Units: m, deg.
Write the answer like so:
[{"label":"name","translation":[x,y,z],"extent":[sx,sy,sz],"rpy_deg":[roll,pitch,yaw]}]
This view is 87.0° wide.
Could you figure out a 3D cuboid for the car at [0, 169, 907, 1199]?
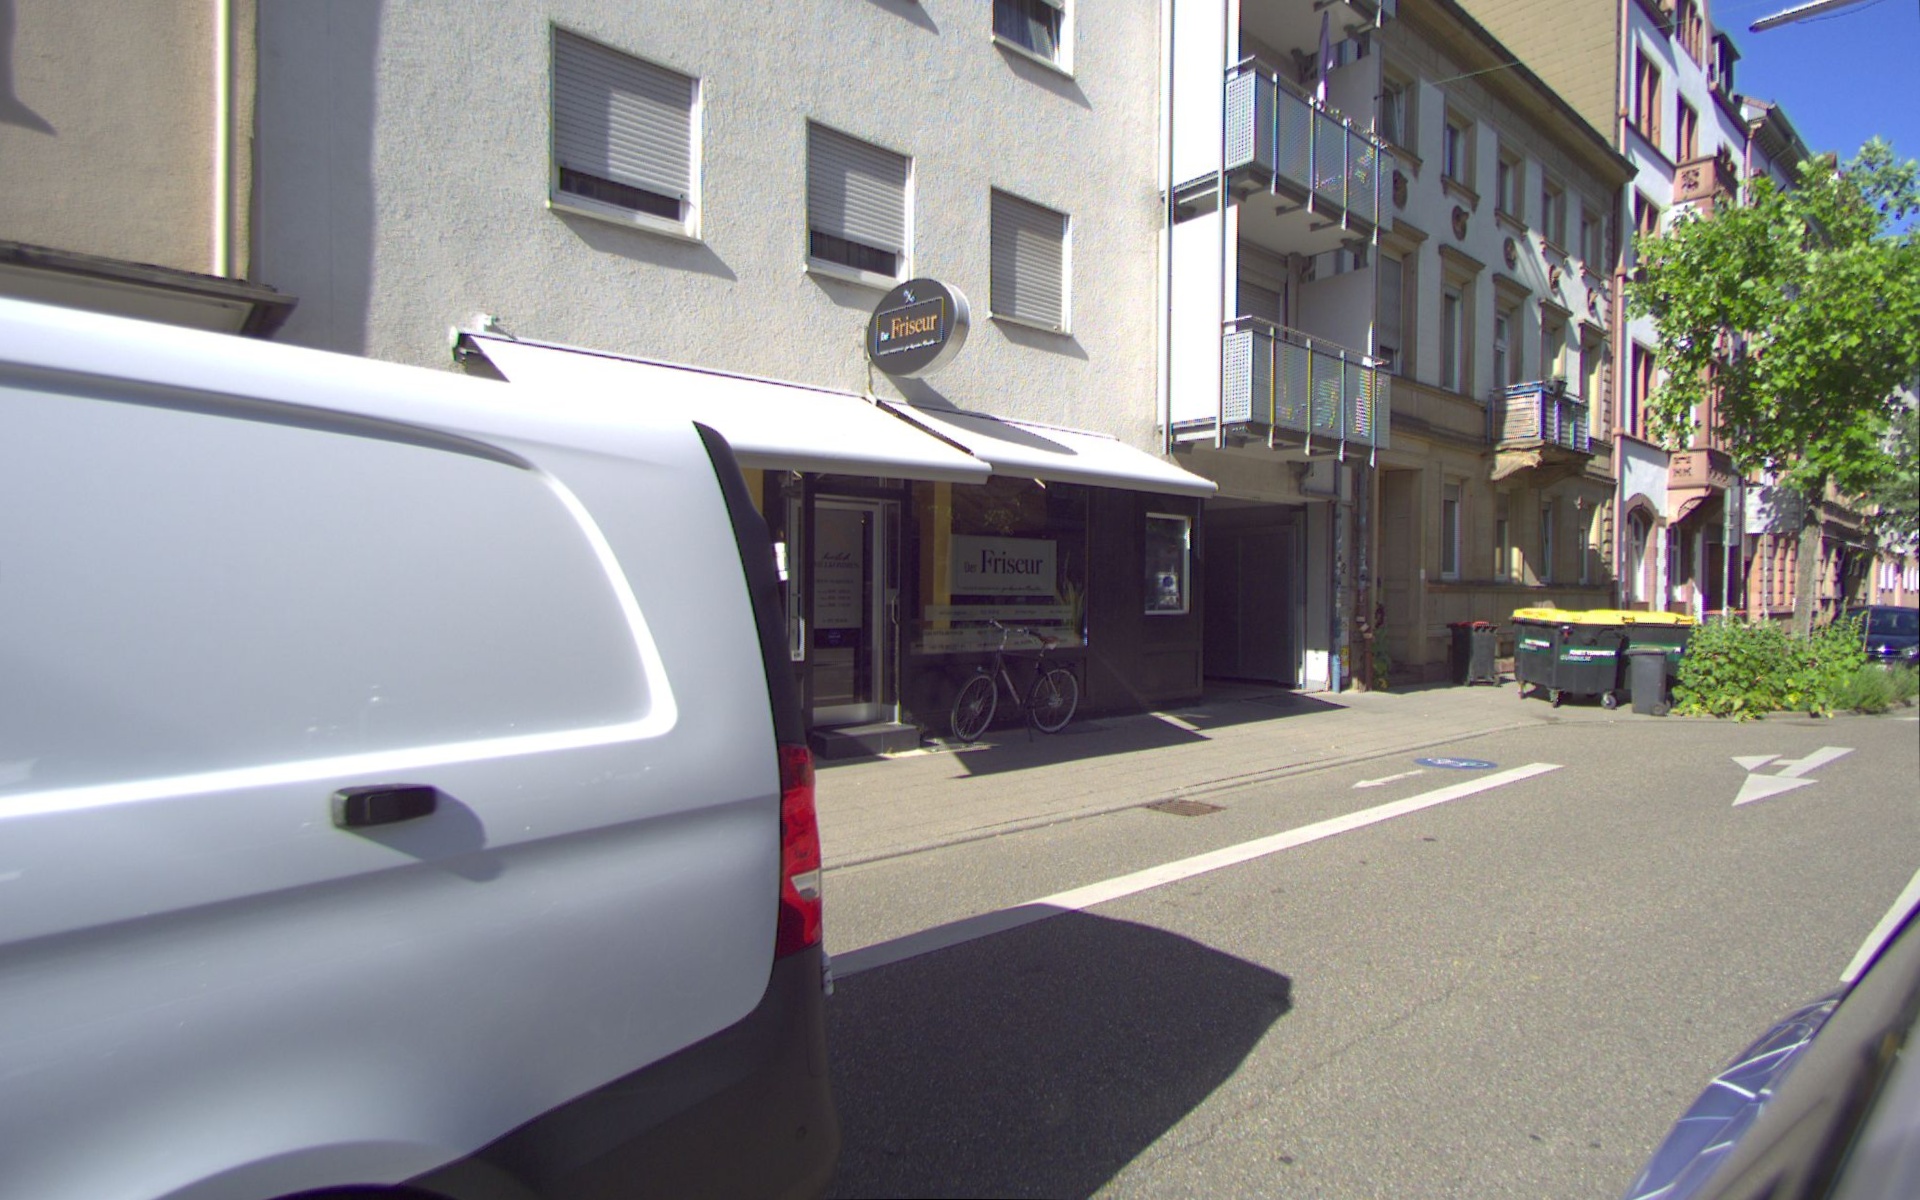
[{"label":"car","translation":[-2.510,0.494,0.871],"extent":[4.912,1.892,1.838],"rpy_deg":[0,1,-43]}]

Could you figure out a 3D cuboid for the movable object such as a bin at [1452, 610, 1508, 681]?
[{"label":"movable object such as a bin","translation":[8.526,0.741,16.618],"extent":[0.557,1.094,0.617],"rpy_deg":[1,3,1]}]

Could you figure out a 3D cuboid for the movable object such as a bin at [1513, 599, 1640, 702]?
[{"label":"movable object such as a bin","translation":[8.836,0.702,14.572],"extent":[1.030,1.341,1.216],"rpy_deg":[1,3,1]}]

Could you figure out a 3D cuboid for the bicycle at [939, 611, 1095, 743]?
[{"label":"bicycle","translation":[0.597,0.720,10.098],"extent":[1.760,1.193,0.402],"rpy_deg":[0,0,-41]}]

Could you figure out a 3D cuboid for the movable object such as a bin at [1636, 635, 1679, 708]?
[{"label":"movable object such as a bin","translation":[9.565,0.973,13.882],"extent":[0.399,0.933,0.478],"rpy_deg":[3,3,41]}]

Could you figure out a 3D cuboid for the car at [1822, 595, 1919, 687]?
[{"label":"car","translation":[16.831,0.675,18.209],"extent":[3.293,1.510,1.550],"rpy_deg":[0,1,-41]}]

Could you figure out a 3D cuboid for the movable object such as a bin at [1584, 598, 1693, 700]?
[{"label":"movable object such as a bin","translation":[9.952,0.687,14.895],"extent":[0.943,1.364,1.066],"rpy_deg":[1,3,11]}]
